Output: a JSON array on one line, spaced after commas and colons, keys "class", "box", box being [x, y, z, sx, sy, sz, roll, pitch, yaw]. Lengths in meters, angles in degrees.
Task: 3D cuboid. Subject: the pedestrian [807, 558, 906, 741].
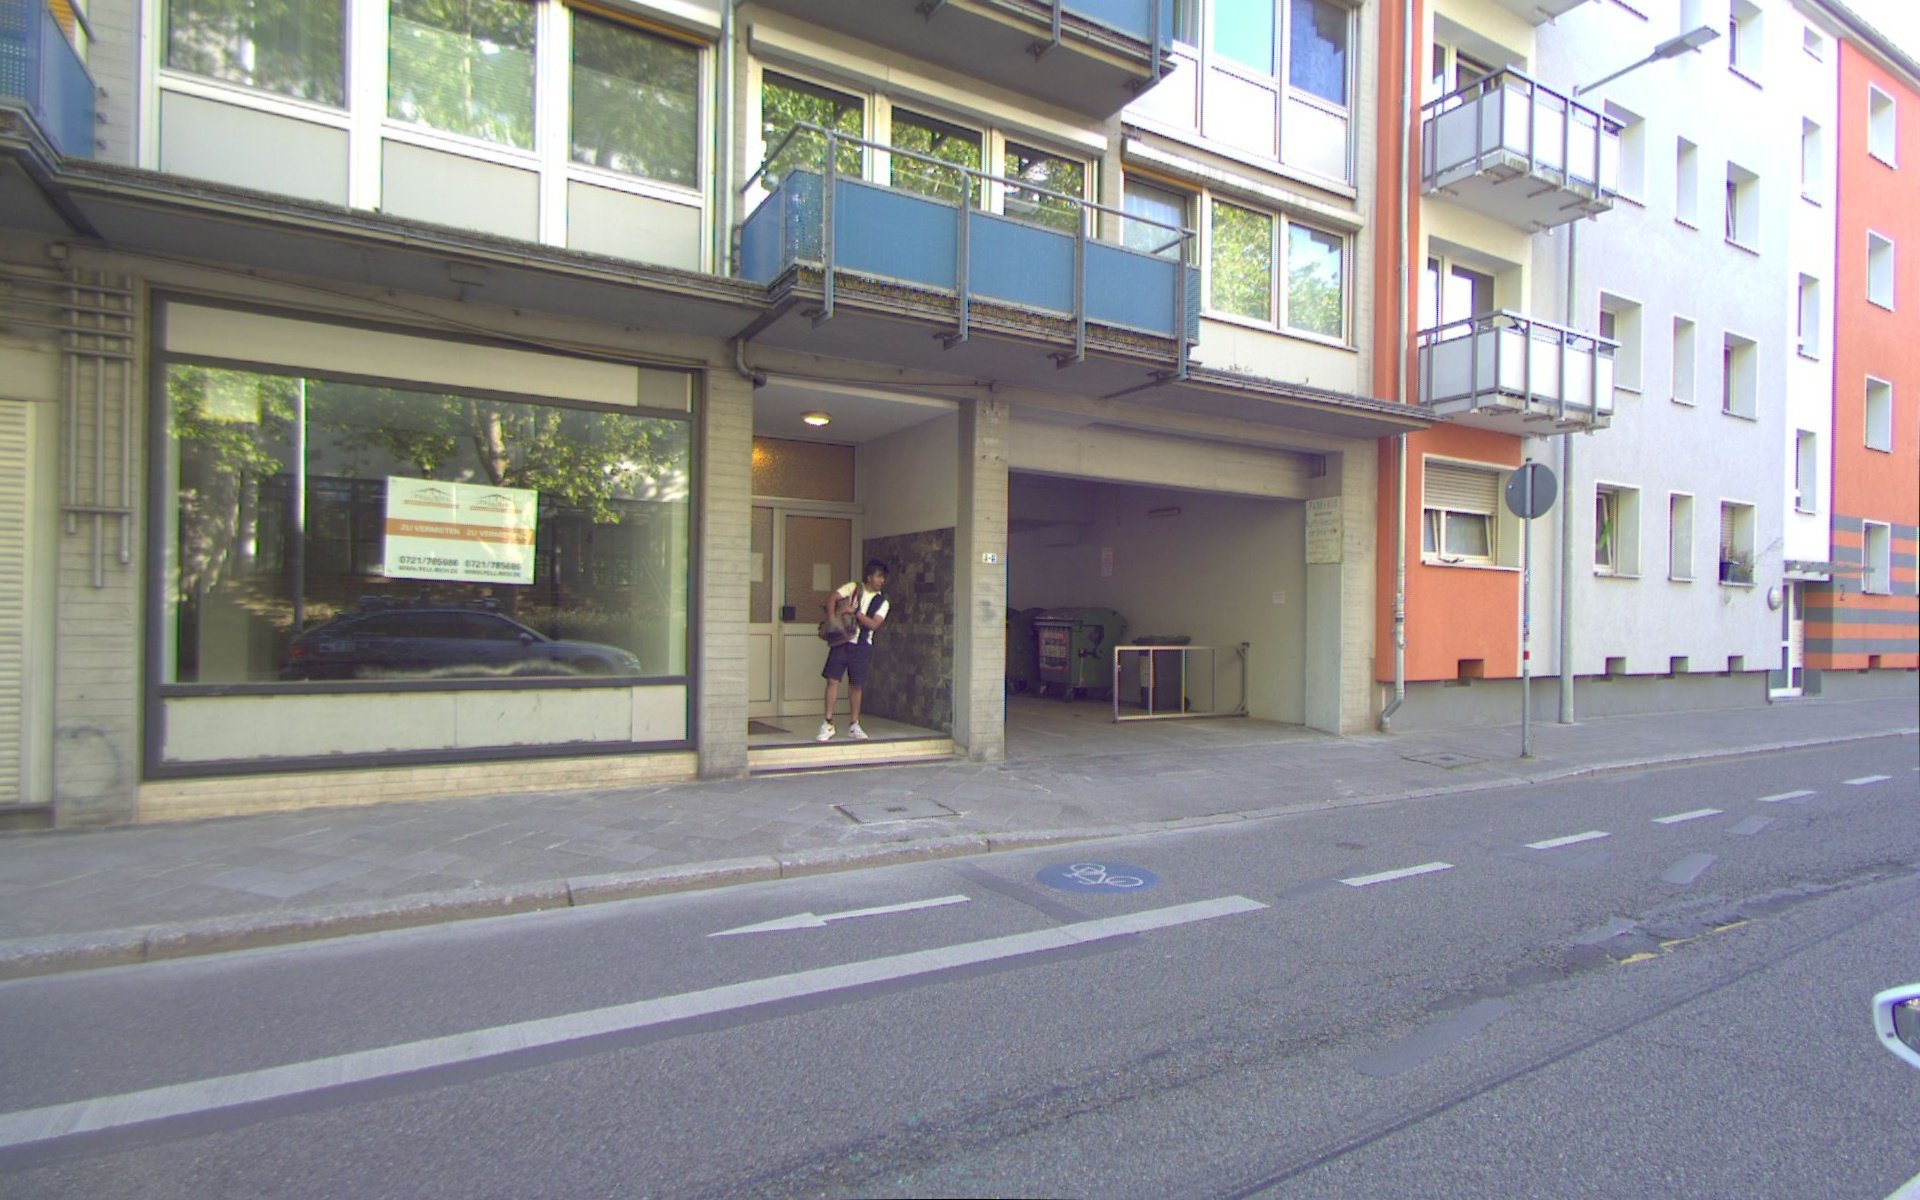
[{"class": "pedestrian", "box": [-0.951, 0.440, 9.207, 0.747, 1.600, 0.511, 1, 0, -30]}]

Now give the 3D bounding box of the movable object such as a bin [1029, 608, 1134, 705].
[{"class": "movable object such as a bin", "box": [1.898, 0.855, 15.819, 1.067, 1.433, 1.312, 1, 0, -30]}]

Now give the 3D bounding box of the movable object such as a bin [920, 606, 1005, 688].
[{"class": "movable object such as a bin", "box": [0.032, 0.846, 18.626, 1.067, 1.433, 1.312, 1, 0, -30]}]

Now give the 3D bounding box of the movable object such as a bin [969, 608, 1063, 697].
[{"class": "movable object such as a bin", "box": [0.944, 0.867, 17.166, 1.067, 1.433, 1.312, 1, 0, -30]}]

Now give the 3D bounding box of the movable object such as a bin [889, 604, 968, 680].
[{"class": "movable object such as a bin", "box": [-0.636, 0.813, 19.825, 1.067, 1.433, 1.312, 1, 0, -30]}]

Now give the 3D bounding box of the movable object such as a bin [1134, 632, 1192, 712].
[{"class": "movable object such as a bin", "box": [2.918, 1.019, 14.438, 0.646, 1.102, 0.487, 1, 0, -30]}]
